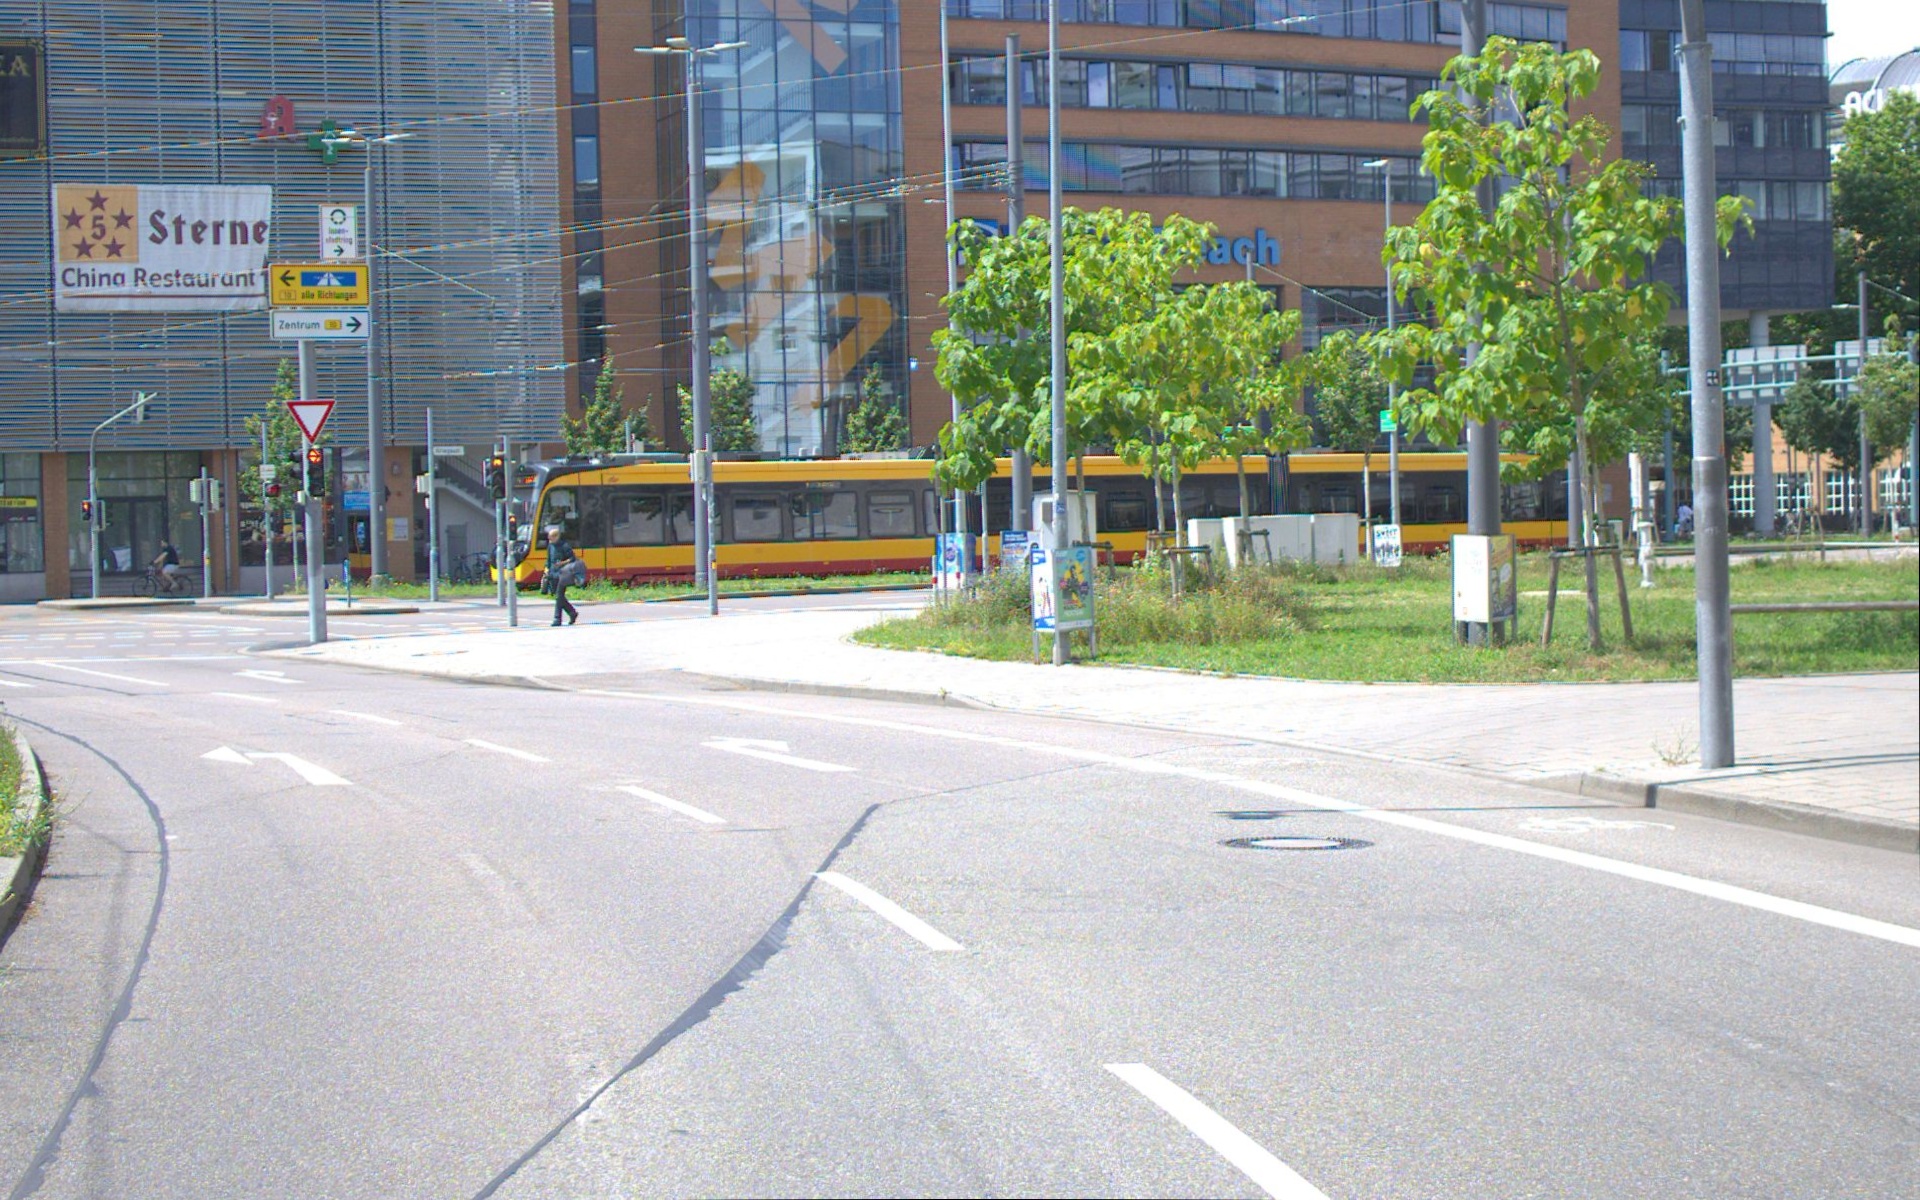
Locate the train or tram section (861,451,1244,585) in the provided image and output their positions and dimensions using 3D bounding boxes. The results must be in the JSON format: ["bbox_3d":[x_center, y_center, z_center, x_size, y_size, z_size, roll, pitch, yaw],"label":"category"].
[{"bbox_3d":[2.700,-2.295,96.346,10.958,3.591,3.065,-1,1,-34],"label":"train or tram section"}]

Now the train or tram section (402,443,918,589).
[{"bbox_3d":[-7.633,-2.171,89.444,13.457,3.587,3.226,-1,1,-33],"label":"train or tram section"}]

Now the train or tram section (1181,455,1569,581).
[{"bbox_3d":[12.564,-2.446,103.027,12.596,3.608,3.065,-1,1,-34],"label":"train or tram section"}]

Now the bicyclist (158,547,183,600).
[{"bbox_3d":[-24.205,-0.819,105.454,0.662,1.618,0.551,0,1,-22],"label":"bicyclist"}]

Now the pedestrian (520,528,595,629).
[{"bbox_3d":[-6.945,-0.365,59.286,0.918,1.696,0.806,-1,1,39],"label":"pedestrian"}]

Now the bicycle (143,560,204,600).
[{"bbox_3d":[-24.132,-0.617,105.491,1.760,1.219,0.584,-1,1,-22],"label":"bicycle"}]
